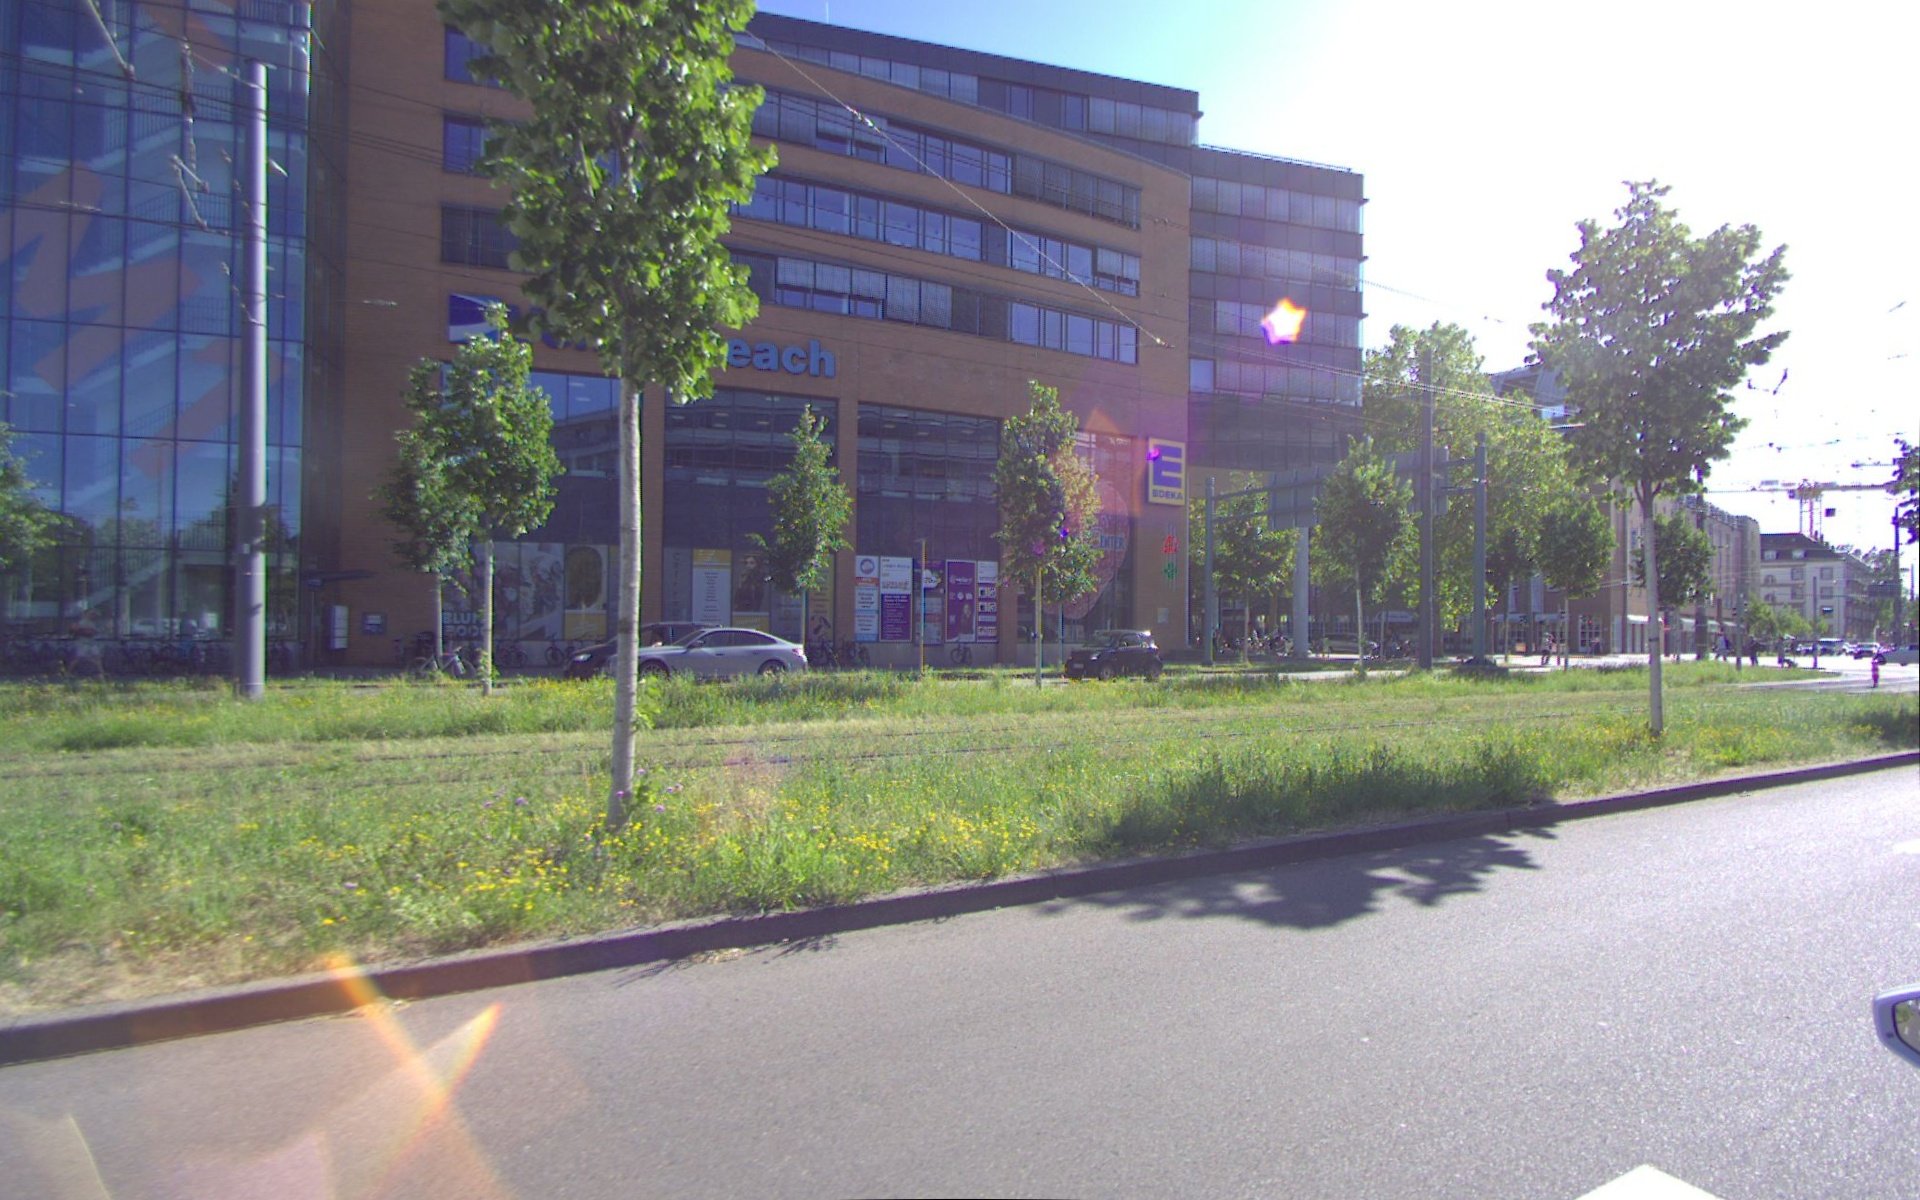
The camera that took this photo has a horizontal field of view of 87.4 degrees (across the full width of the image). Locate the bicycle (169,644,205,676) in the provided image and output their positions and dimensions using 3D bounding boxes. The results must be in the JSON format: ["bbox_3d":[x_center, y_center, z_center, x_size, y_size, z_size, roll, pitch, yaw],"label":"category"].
[{"bbox_3d":[-21.767,1.678,28.314,0.439,0.830,1.443,1,-1,-23],"label":"bicycle"}]

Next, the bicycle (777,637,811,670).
[{"bbox_3d":[-6.266,2.001,37.797,0.742,1.138,2.168,1,-1,-23],"label":"bicycle"}]

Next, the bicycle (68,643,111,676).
[{"bbox_3d":[-23.961,1.635,27.670,0.439,0.830,1.443,1,-1,-23],"label":"bicycle"}]

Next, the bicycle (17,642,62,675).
[{"bbox_3d":[-25.277,1.603,27.596,0.439,0.830,1.443,1,-1,-23],"label":"bicycle"}]

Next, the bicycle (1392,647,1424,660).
[{"bbox_3d":[29.782,3.526,66.800,0.373,0.809,2.006,2,-2,-41],"label":"bicycle"}]

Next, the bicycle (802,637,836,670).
[{"bbox_3d":[-5.366,2.009,38.054,0.742,1.138,2.168,1,-1,-23],"label":"bicycle"}]

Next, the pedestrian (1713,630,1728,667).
[{"bbox_3d":[38.441,2.466,50.787,0.452,1.855,0.459,0,-1,19],"label":"pedestrian"}]

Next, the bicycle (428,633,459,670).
[{"bbox_3d":[-17.292,1.703,33.668,0.742,1.138,2.168,1,-1,-23],"label":"bicycle"}]

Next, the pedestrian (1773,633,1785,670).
[{"bbox_3d":[42.204,2.643,51.744,0.379,1.855,0.463,0,-1,26],"label":"pedestrian"}]

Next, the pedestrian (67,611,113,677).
[{"bbox_3d":[-22.960,1.151,26.516,0.770,1.707,0.592,1,-1,-31],"label":"pedestrian"}]

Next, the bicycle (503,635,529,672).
[{"bbox_3d":[-15.010,1.782,33.971,0.742,1.138,2.168,1,-1,-23],"label":"bicycle"}]

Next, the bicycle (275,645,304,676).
[{"bbox_3d":[-19.644,1.760,29.443,0.439,0.830,1.443,1,-1,-23],"label":"bicycle"}]

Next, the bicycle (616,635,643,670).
[{"bbox_3d":[-11.766,1.861,35.710,0.742,1.138,2.168,1,-1,-23],"label":"bicycle"}]

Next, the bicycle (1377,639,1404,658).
[{"bbox_3d":[22.593,2.530,52.654,1.876,0.938,0.351,3,-3,-34],"label":"bicycle"}]

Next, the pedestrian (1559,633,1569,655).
[{"bbox_3d":[52.382,3.815,87.101,0.517,1.957,0.747,-1,-2,44],"label":"pedestrian"}]

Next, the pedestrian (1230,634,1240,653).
[{"bbox_3d":[19.358,3.066,70.664,0.543,1.310,0.424,2,-2,-42],"label":"pedestrian"}]

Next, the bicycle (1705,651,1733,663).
[{"bbox_3d":[87.792,6.551,116.201,0.726,1.327,2.469,2,-2,-34],"label":"bicycle"}]

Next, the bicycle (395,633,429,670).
[{"bbox_3d":[-18.061,1.686,33.162,0.742,1.138,2.168,1,-1,-23],"label":"bicycle"}]

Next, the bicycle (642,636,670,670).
[{"bbox_3d":[-10.905,1.889,36.002,0.742,1.138,2.168,1,-1,-23],"label":"bicycle"}]

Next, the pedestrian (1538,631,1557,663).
[{"bbox_3d":[33.830,2.713,57.852,0.617,1.855,0.758,1,-1,-27],"label":"pedestrian"}]

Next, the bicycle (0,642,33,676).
[{"bbox_3d":[-25.785,1.589,27.254,0.439,0.830,1.443,1,-1,-23],"label":"bicycle"}]

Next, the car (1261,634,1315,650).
[{"bbox_3d":[26.771,3.417,81.983,1.763,1.158,3.963,2,-2,-33],"label":"car"}]

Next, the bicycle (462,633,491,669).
[{"bbox_3d":[-16.383,1.717,34.078,0.742,1.138,2.168,1,-1,-23],"label":"bicycle"}]

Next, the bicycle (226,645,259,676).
[{"bbox_3d":[-20.584,1.723,28.822,0.439,0.830,1.443,1,-1,-23],"label":"bicycle"}]

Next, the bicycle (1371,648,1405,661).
[{"bbox_3d":[27.169,3.460,63.821,0.373,0.809,2.006,2,-2,-41],"label":"bicycle"}]

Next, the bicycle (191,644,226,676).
[{"bbox_3d":[-21.275,1.694,28.453,0.439,0.830,1.443,1,-1,-23],"label":"bicycle"}]

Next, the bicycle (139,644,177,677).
[{"bbox_3d":[-22.482,1.687,28.186,0.439,0.830,1.443,1,-1,-23],"label":"bicycle"}]

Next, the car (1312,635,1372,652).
[{"bbox_3d":[29.611,3.347,77.855,1.979,1.247,3.963,2,-2,-33],"label":"car"}]

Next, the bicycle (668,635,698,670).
[{"bbox_3d":[-9.985,1.880,36.216,0.742,1.138,2.168,1,-1,-23],"label":"bicycle"}]

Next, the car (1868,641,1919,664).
[{"bbox_3d":[61.071,3.343,64.145,2.027,1.399,4.411,1,-2,-3],"label":"car"}]

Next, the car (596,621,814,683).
[{"bbox_3d":[-6.070,1.224,24.057,4.733,1.352,1.984,2,-2,-30],"label":"car"}]

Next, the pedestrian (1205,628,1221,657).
[{"bbox_3d":[15.112,2.538,59.929,0.780,1.645,0.503,3,-2,-33],"label":"pedestrian"}]

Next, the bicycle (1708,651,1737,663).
[{"bbox_3d":[87.258,6.506,114.965,0.726,1.327,2.469,2,-2,-34],"label":"bicycle"}]

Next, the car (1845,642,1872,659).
[{"bbox_3d":[84.681,4.766,94.630,1.594,1.416,3.895,-6,-5,44],"label":"car"}]

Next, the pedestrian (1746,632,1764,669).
[{"bbox_3d":[40.072,2.525,50.632,0.571,1.855,0.498,0,-1,19],"label":"pedestrian"}]

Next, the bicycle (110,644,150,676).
[{"bbox_3d":[-23.094,1.654,27.960,0.439,0.830,1.443,1,-1,-23],"label":"bicycle"}]

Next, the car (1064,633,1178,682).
[{"bbox_3d":[4.874,1.711,30.288,3.257,1.377,1.421,2,-2,-31],"label":"car"}]

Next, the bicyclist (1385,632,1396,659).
[{"bbox_3d":[22.554,2.378,52.625,0.477,1.395,0.338,3,-2,-34],"label":"bicyclist"}]

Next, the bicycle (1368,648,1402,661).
[{"bbox_3d":[26.571,3.397,62.765,0.373,0.809,2.006,2,-2,-41],"label":"bicycle"}]

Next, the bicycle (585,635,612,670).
[{"bbox_3d":[-12.726,1.828,35.350,0.742,1.138,2.168,1,-1,-23],"label":"bicycle"}]

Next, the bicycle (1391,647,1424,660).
[{"bbox_3d":[29.130,3.460,65.419,0.373,0.809,2.006,2,-2,-41],"label":"bicycle"}]

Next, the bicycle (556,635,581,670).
[{"bbox_3d":[-13.676,1.817,35.051,0.742,1.138,2.168,1,-1,-23],"label":"bicycle"}]

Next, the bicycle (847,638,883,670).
[{"bbox_3d":[-3.691,2.064,38.696,0.742,1.138,2.168,1,-1,-23],"label":"bicycle"}]
